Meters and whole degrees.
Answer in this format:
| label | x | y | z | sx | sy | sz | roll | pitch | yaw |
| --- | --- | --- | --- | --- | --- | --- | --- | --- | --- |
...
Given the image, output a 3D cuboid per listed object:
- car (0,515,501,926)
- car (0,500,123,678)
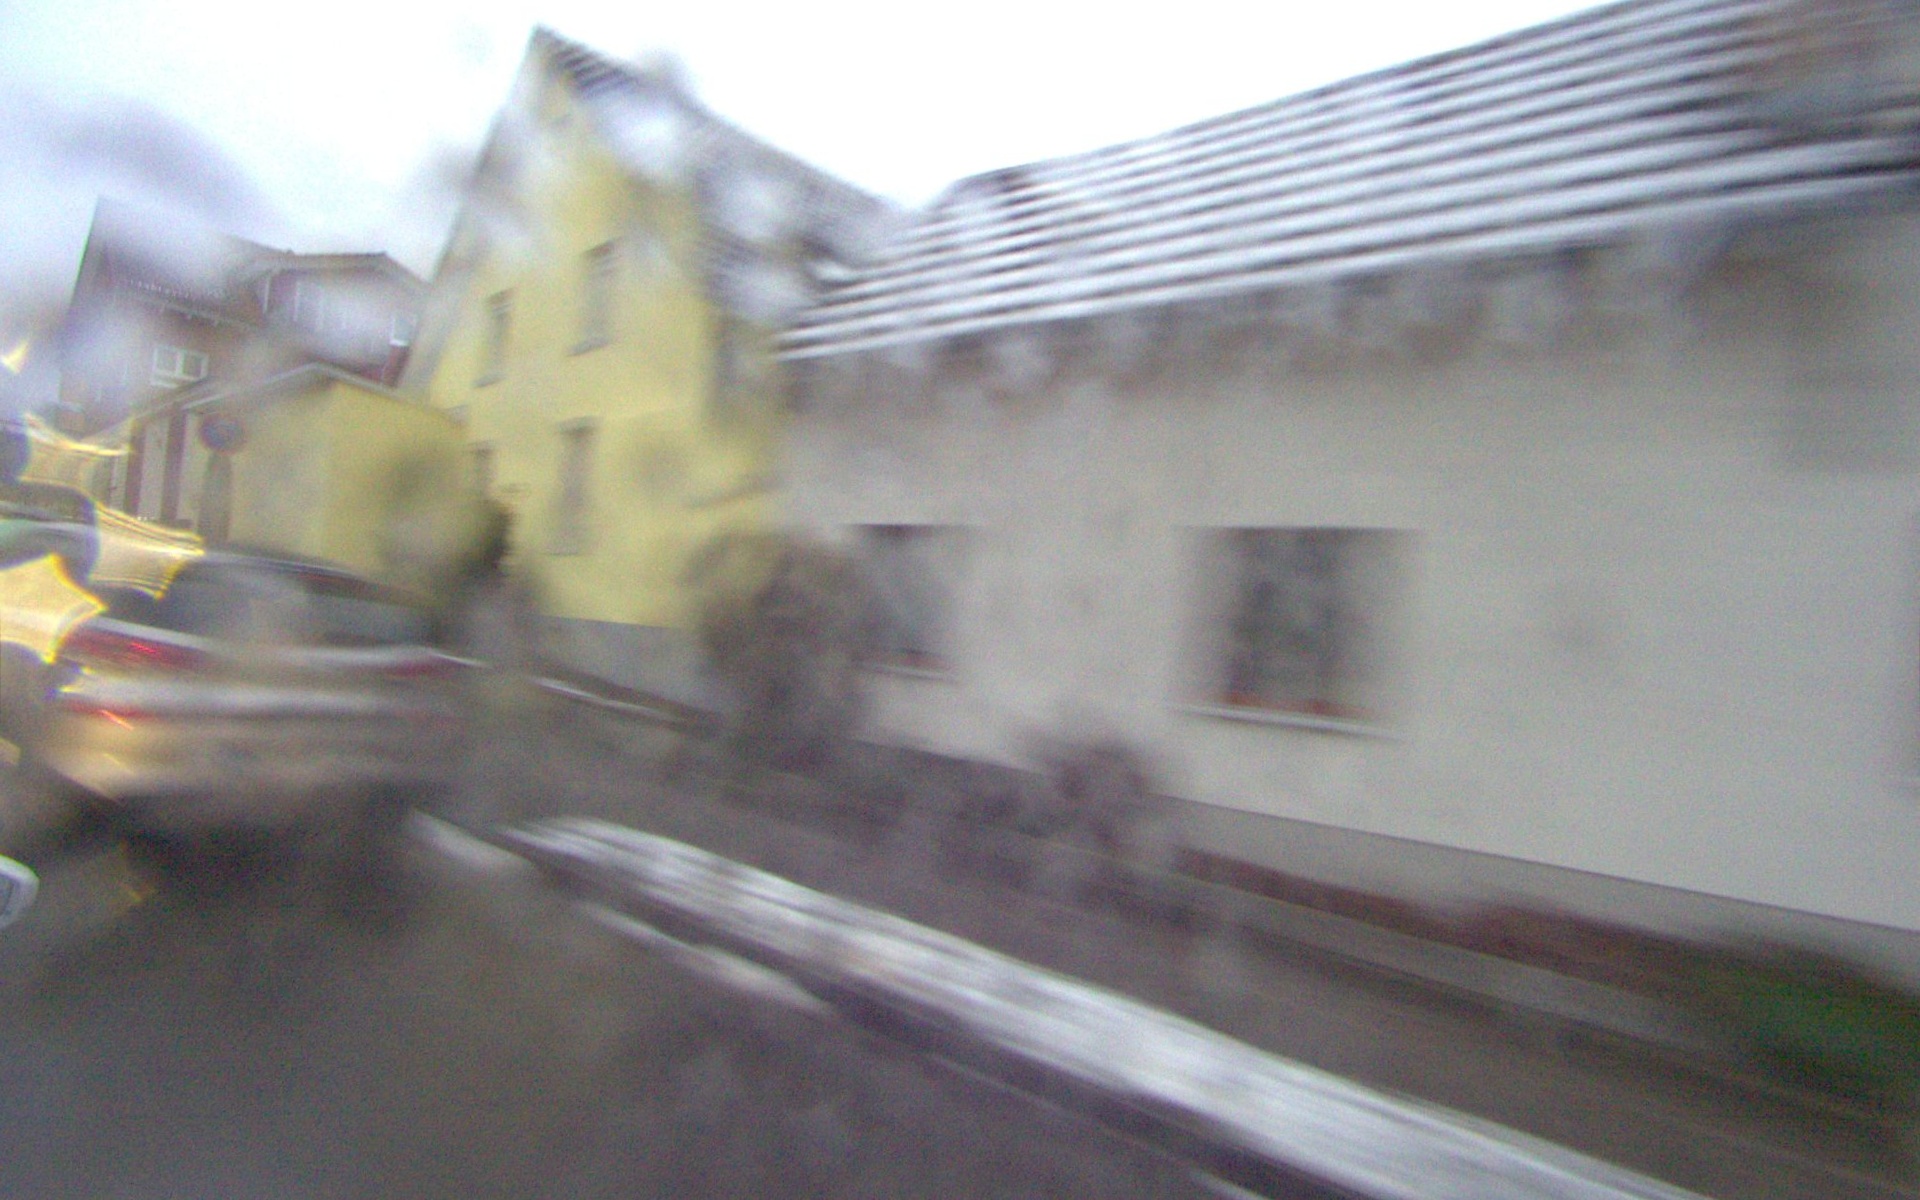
| label | x | y | z | sx | sy | sz | roll | pitch | yaw |
| --- | --- | --- | --- | --- | --- | --- | --- | --- | --- |
| car | -4.719 | 0.349 | 5.726 | 4.553 | 1.457 | 1.790 | 6 | -1 | 37 |
| car | -9.867 | -0.301 | 9.612 | 4.725 | 1.449 | 1.726 | 6 | -1 | 37 |
